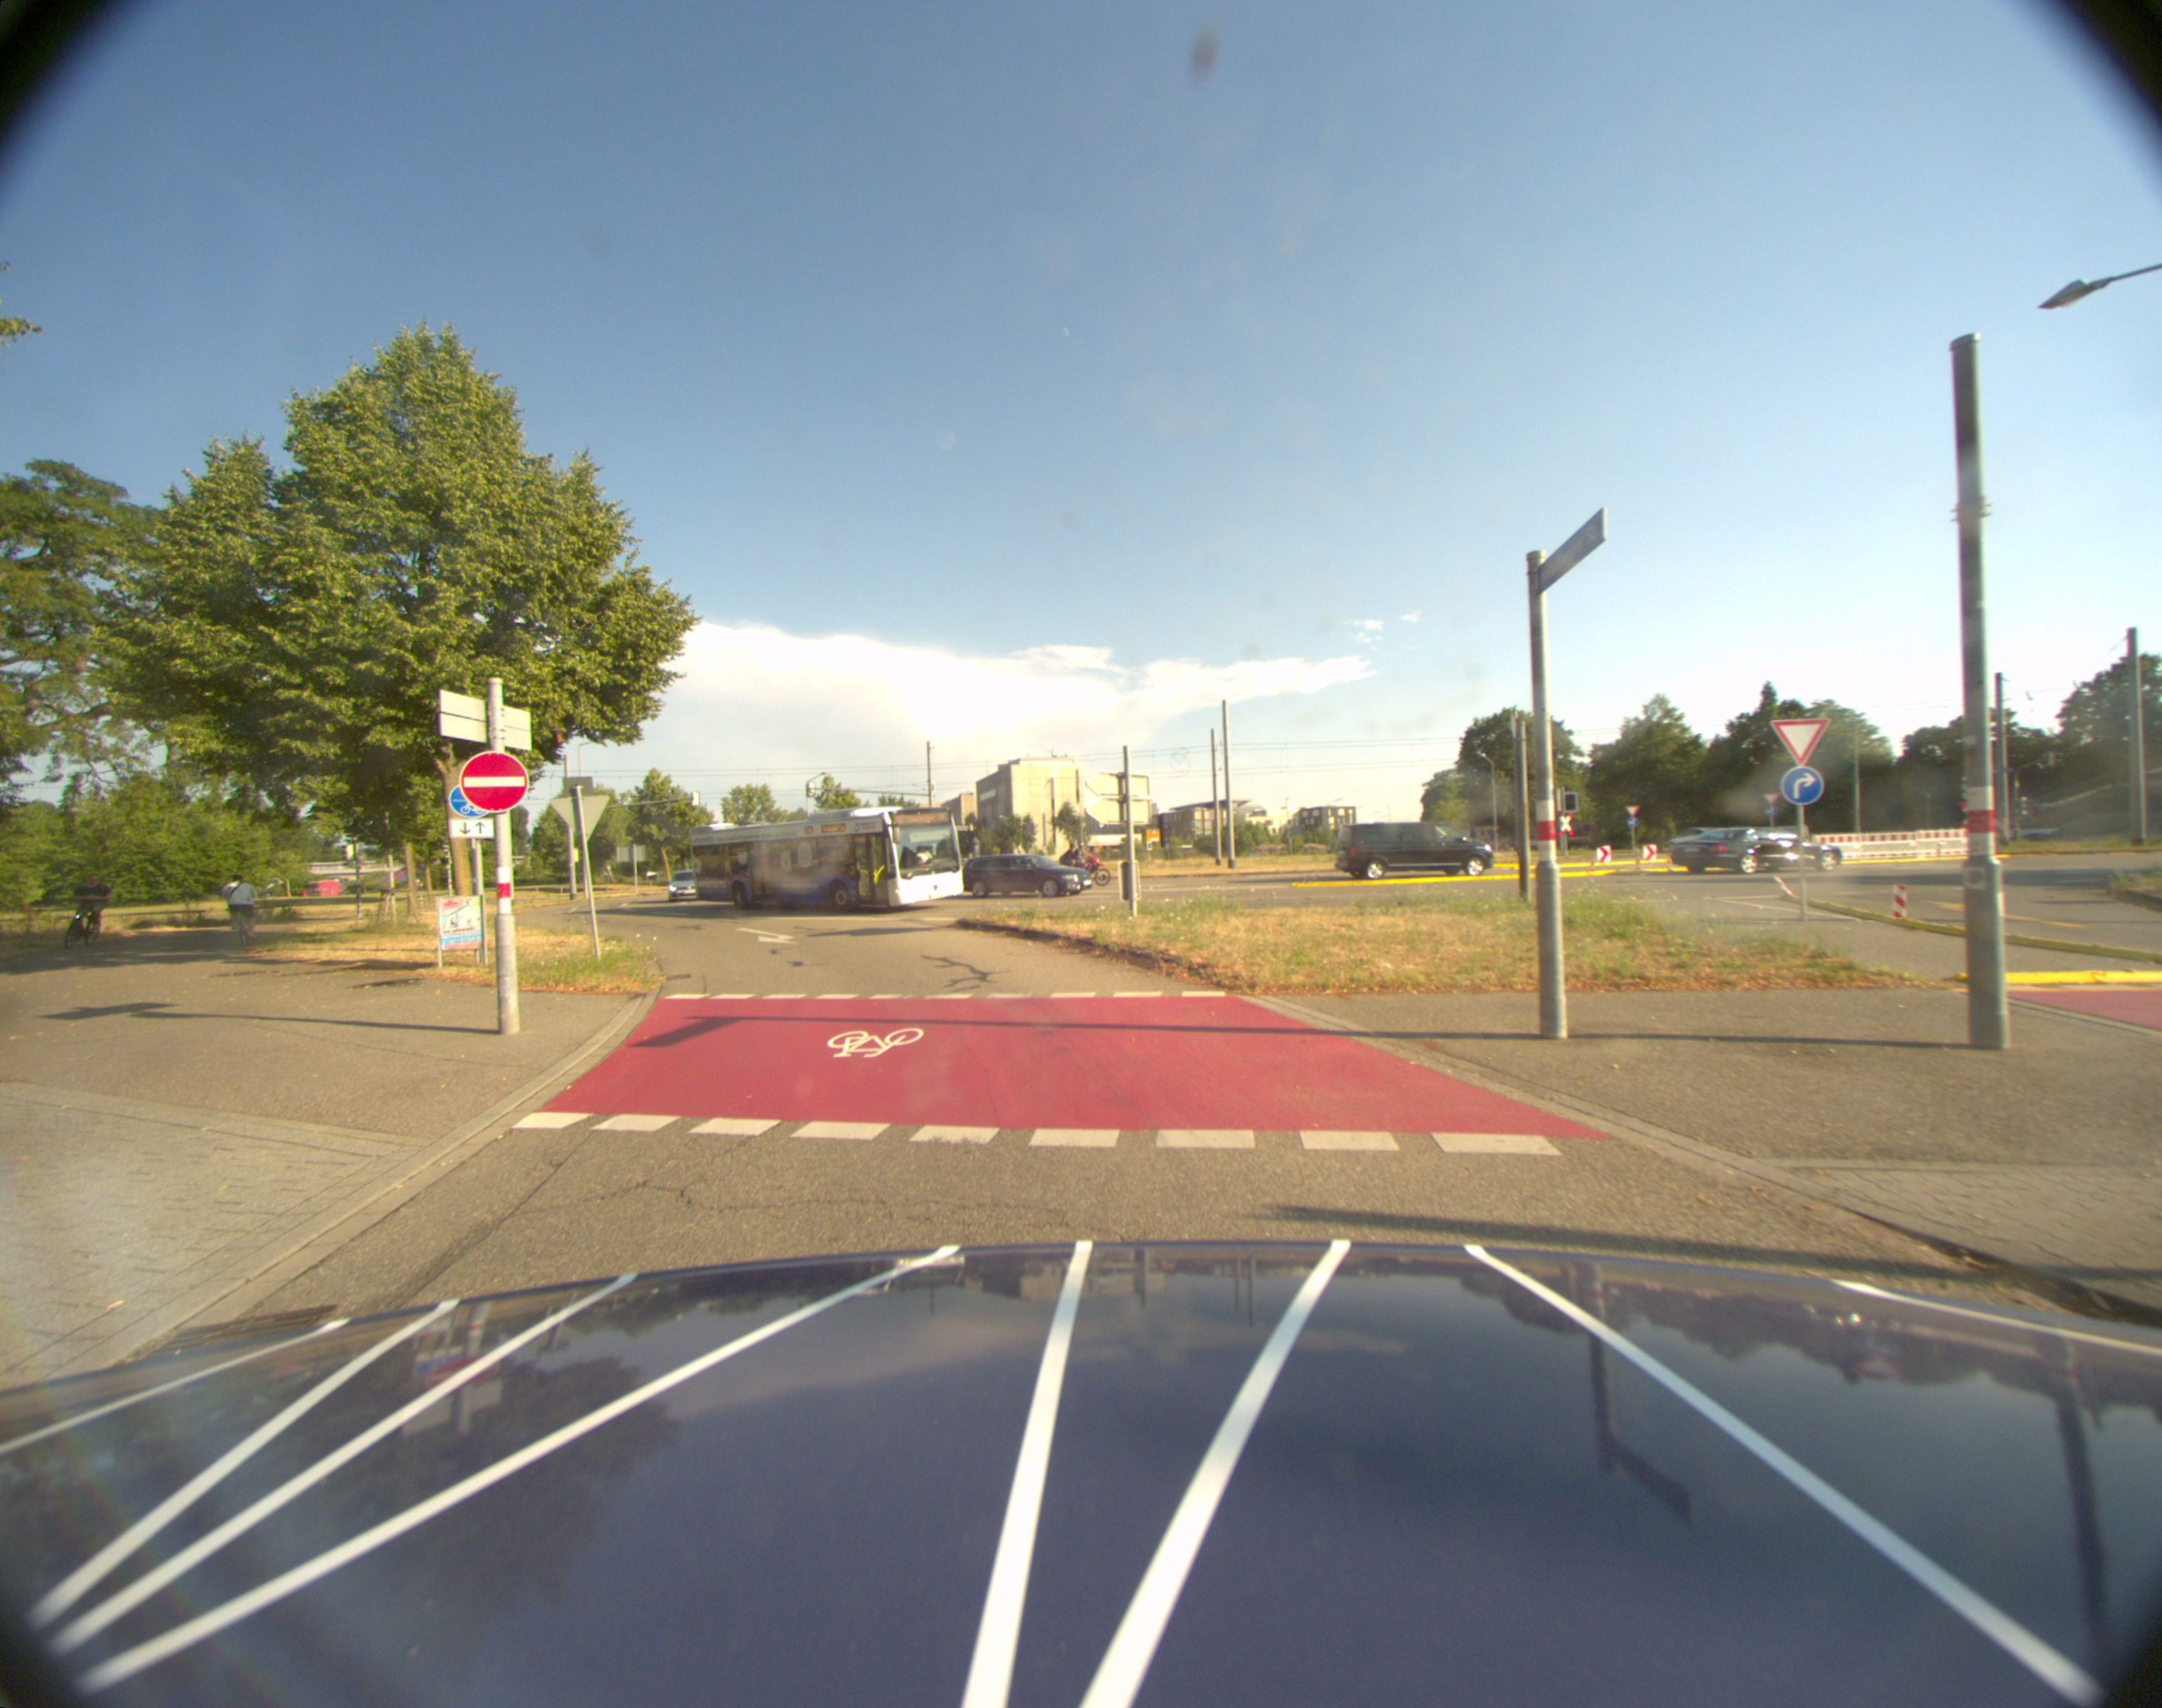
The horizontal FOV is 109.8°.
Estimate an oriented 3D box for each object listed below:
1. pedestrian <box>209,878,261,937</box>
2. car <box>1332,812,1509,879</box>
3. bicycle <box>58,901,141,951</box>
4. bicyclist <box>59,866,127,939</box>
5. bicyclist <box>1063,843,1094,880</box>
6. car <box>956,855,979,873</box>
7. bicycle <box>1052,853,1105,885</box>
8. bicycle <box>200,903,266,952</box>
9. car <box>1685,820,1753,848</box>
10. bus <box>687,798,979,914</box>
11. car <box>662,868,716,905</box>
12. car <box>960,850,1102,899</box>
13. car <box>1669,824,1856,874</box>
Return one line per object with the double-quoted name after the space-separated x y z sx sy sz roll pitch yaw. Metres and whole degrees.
-21.087 1.320 18.950 0.654 1.383 0.765 -1 1 -32 "pedestrian"
11.858 -0.304 26.846 5.239 2.035 2.095 -3 1 3 "car"
-25.432 1.840 19.733 0.642 1.116 2.120 -3 1 -34 "bicycle"
-25.382 1.224 19.535 0.729 1.790 0.936 -3 1 -34 "bicyclist"
-0.094 0.295 30.168 0.770 1.377 0.885 -2 4 41 "bicyclist"
-10.987 0.916 73.594 2.000 1.630 3.997 -2 0 -7 "car"
-0.121 0.608 30.245 2.026 1.177 0.822 -2 1 40 "bicycle"
-20.980 1.794 18.834 0.535 1.049 1.909 -3 1 -32 "bicycle"
38.709 -1.207 46.204 1.995 1.565 4.005 -2 1 22 "car"
-8.623 0.194 24.806 12.145 3.044 2.671 -2 1 38 "bus"
-18.437 1.467 35.874 2.002 1.515 3.992 -2 0 -25 "car"
-1.710 0.682 25.571 4.376 1.428 1.814 -3 1 27 "car"
21.415 -0.168 23.955 4.700 1.398 1.842 -1 1 -9 "car"
